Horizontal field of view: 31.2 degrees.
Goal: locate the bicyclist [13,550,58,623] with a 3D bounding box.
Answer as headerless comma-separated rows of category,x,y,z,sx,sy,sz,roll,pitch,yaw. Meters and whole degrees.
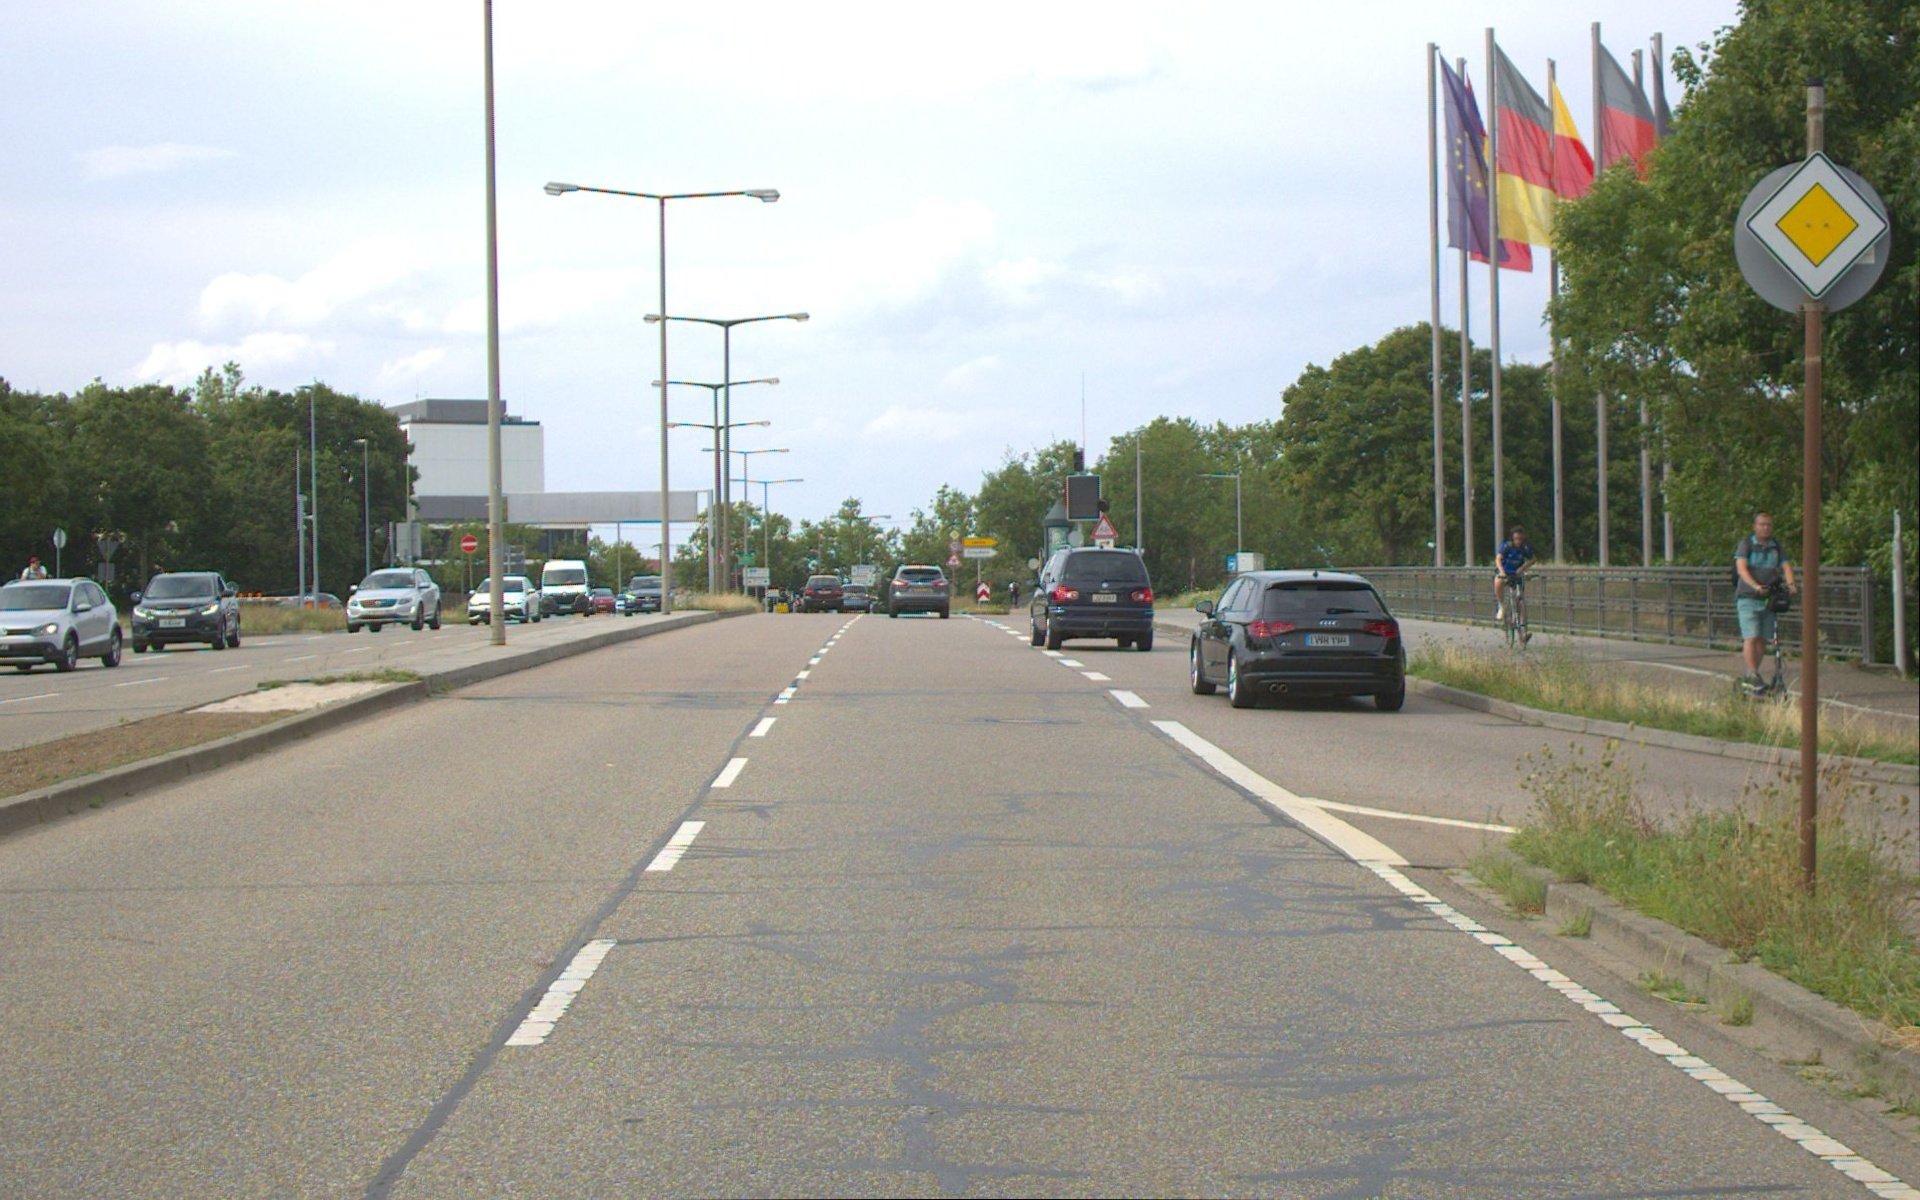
bicyclist,-20.840,-0.310,77.528,0.794,1.621,0.976,1,0,-4

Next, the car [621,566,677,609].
car,-11.618,-0.453,128.608,1.738,1.475,4.776,-2,0,-1

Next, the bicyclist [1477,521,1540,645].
bicyclist,7.404,-0.235,46.418,0.664,1.653,0.805,1,2,-2

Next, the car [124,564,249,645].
car,-15.483,0.070,69.002,1.739,1.510,4.316,-2,0,-3

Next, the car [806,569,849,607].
car,-5.751,-0.511,149.778,1.730,1.647,4.115,0,0,-1

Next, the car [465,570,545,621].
car,-14.057,-0.158,106.413,1.738,1.475,4.471,-2,0,2

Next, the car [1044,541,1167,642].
car,2.428,-0.133,58.258,1.730,1.647,4.115,0,0,-2

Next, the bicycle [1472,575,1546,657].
bicycle,7.384,0.203,46.337,0.577,1.018,1.976,-3,2,-2

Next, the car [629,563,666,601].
car,-16.018,-0.947,176.405,1.540,1.865,3.570,-2,1,0

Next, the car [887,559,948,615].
car,-1.318,-0.390,104.670,1.730,1.647,4.115,0,0,-2

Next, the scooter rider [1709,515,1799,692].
scooter rider,7.670,0.029,33.211,0.587,1.685,0.744,1,0,-9

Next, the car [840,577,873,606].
car,-5.655,-0.445,187.093,1.730,1.521,4.115,0,0,-2

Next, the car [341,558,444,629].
car,-14.798,-0.182,89.843,1.863,1.719,4.770,-2,0,0

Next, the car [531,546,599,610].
car,-17.058,-0.948,148.728,2.053,2.634,6.400,-2,1,1

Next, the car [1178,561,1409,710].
car,3.433,0.329,36.063,1.730,1.390,4.116,-1,1,-4

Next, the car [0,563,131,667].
car,-14.520,0.222,54.433,1.649,1.510,4.016,-2,1,2

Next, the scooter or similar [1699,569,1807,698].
scooter or similar,7.662,0.314,33.242,0.588,1.220,1.203,1,0,-9
